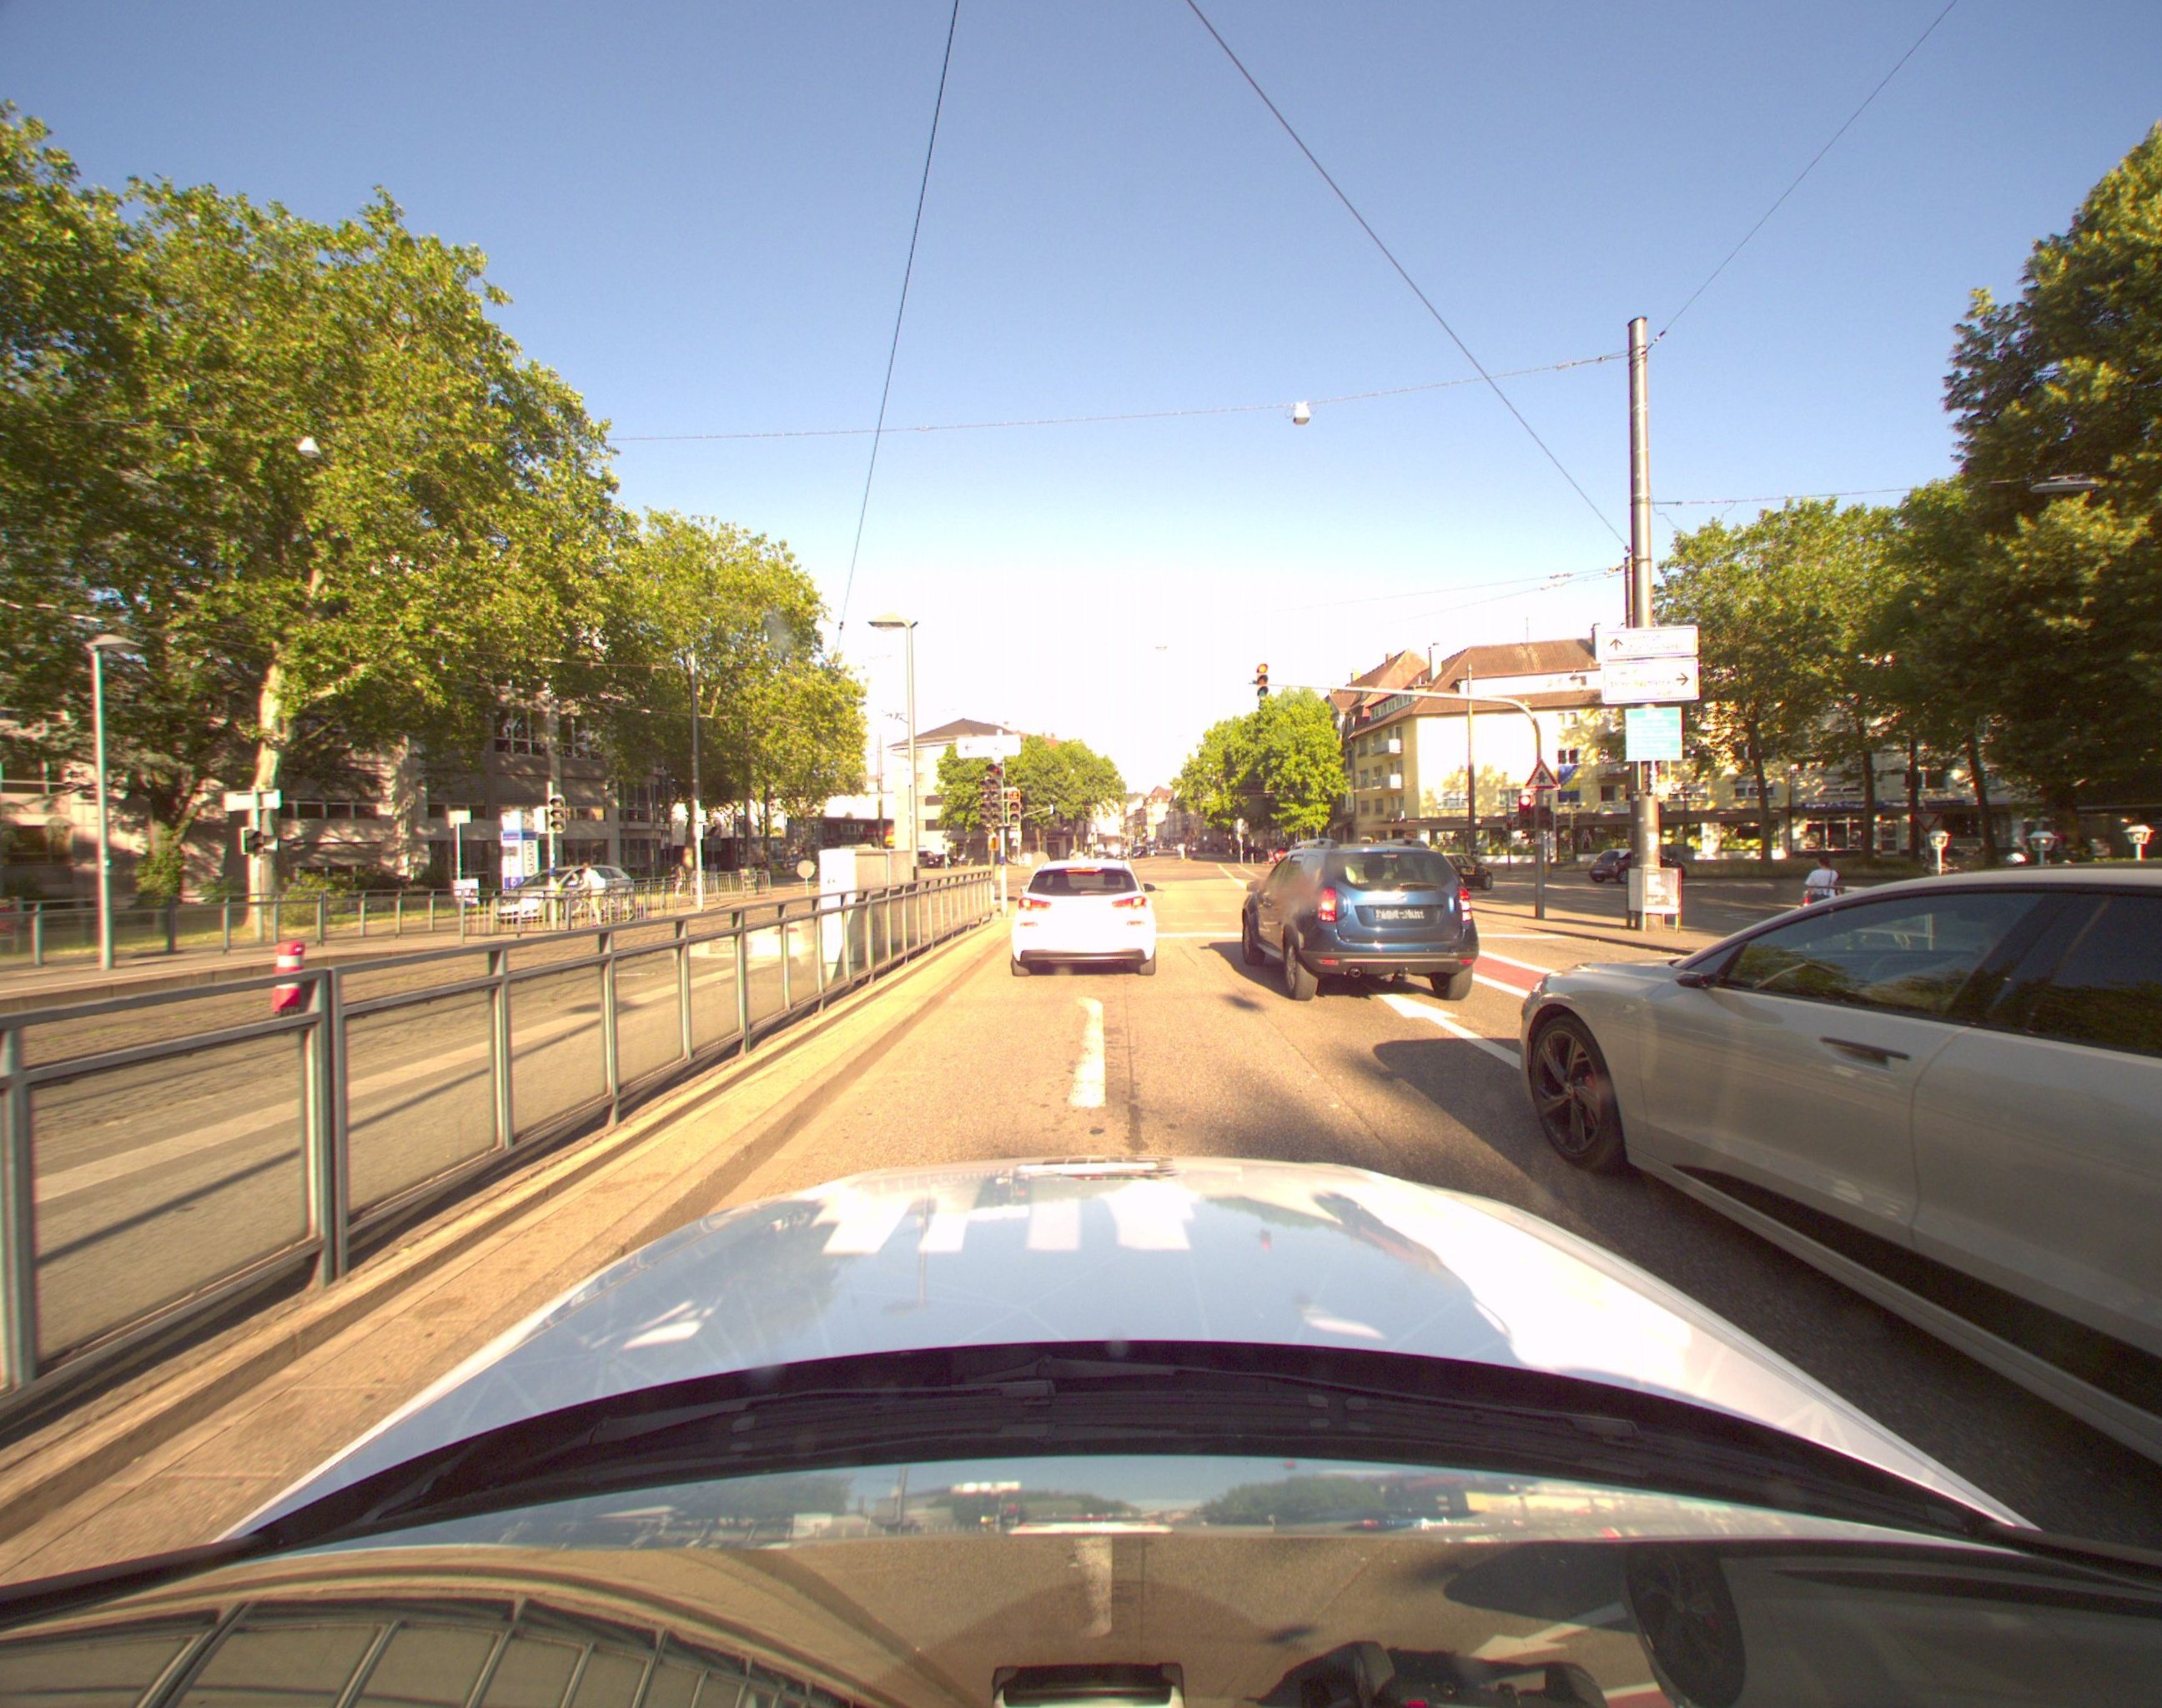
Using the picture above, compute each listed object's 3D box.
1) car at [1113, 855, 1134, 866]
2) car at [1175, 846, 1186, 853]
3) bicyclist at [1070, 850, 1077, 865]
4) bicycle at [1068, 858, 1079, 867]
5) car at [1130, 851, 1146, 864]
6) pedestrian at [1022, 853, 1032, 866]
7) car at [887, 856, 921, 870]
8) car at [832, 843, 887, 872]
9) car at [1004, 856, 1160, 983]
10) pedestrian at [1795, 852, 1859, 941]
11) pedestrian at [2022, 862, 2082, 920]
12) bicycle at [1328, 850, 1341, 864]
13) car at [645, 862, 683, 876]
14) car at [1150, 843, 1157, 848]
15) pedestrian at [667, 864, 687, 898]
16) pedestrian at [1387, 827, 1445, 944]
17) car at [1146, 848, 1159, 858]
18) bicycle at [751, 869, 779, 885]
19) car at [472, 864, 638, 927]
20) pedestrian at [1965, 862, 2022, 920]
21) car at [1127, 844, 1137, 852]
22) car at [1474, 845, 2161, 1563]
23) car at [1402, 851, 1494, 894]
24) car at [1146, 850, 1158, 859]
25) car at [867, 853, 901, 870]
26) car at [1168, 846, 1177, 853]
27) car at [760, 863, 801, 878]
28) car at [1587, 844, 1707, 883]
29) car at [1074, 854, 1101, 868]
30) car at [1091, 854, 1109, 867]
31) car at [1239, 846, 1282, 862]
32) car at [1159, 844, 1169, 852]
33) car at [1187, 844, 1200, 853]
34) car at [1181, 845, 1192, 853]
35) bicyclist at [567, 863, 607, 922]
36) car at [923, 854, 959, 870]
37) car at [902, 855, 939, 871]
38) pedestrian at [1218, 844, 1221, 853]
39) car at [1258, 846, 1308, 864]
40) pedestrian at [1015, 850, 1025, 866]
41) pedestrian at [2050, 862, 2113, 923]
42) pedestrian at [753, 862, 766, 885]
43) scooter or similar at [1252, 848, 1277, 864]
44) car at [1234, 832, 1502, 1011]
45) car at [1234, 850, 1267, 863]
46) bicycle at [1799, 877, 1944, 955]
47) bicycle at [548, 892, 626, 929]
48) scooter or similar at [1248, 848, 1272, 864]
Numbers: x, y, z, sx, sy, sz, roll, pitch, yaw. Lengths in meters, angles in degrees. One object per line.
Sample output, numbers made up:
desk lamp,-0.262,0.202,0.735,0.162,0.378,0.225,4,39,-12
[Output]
car,5.890,0.853,112.205,1.779,1.510,4.020,-2,-1,21
car,20.517,-0.936,168.248,1.787,1.510,4.002,-1,0,2
bicyclist,-0.885,0.388,93.949,0.463,1.745,0.721,-1,0,25
bicycle,-0.873,0.994,93.945,0.463,0.956,1.777,-1,0,25
car,8.426,0.455,119.581,1.782,1.826,4.014,-1,0,12
pedestrian,-6.185,0.586,92.911,0.795,1.484,0.867,-1,0,28
car,-20.126,1.043,92.686,1.779,1.510,4.031,-1,0,21
car,-25.684,0.348,94.733,2.473,3.165,6.573,-1,0,25
car,0.065,0.767,11.503,1.801,1.452,4.001,-1,0,1
pedestrian,13.636,0.756,14.903,0.642,1.563,0.635,1,0,21
pedestrian,23.101,0.866,19.378,0.645,1.338,0.632,1,0,2
bicycle,20.856,0.264,67.009,0.606,1.107,1.803,-1,0,6
car,-48.698,1.726,95.036,3.952,1.510,1.810,-1,0,23
car,21.121,-2.407,237.850,1.787,1.510,4.002,-1,0,2
pedestrian,-18.710,1.238,37.690,0.533,1.552,0.677,-1,0,1
pedestrian,5.553,0.508,13.516,0.654,1.871,0.678,-1,0,1
car,11.808,-0.135,134.124,1.788,1.510,4.001,-1,0,1
bicycle,-22.998,1.683,59.246,1.786,1.107,0.501,-1,0,4
car,-15.660,1.164,24.547,1.804,1.692,4.173,0,0,10
pedestrian,21.801,0.872,19.464,0.645,1.338,0.632,1,0,2
car,9.870,-1.072,157.110,1.788,1.510,4.001,-1,0,1
car,3.218,0.718,2.390,1.922,1.472,4.857,-1,0,2
car,13.821,0.651,30.579,4.068,1.438,1.784,-1,1,-44
car,12.451,0.143,142.107,1.788,1.510,4.001,-1,0,1
car,-22.589,0.849,93.653,1.779,1.955,4.021,-1,0,21
car,21.118,-1.024,187.486,1.787,1.522,4.002,-1,0,2
car,-32.391,1.815,87.845,3.952,1.510,1.810,-1,0,23
car,23.971,0.383,34.570,3.979,1.510,1.798,-1,1,-4
car,0.818,0.841,98.277,1.707,1.510,3.899,-2,-1,27
car,2.431,0.825,104.231,1.784,1.510,4.010,-2,-1,9
car,18.368,0.010,83.529,3.979,1.510,1.797,-1,0,-4
car,21.687,-1.586,212.515,2.318,2.013,4.978,-1,0,2
car,21.444,-1.060,155.525,2.097,1.776,4.343,-1,0,2
car,20.977,-0.922,162.070,1.787,1.510,4.002,-1,0,2
bicyclist,-12.299,0.949,20.284,0.806,1.414,0.522,-1,0,-32
car,-15.424,0.882,89.837,1.904,1.649,4.203,-1,0,22
car,-17.844,0.946,90.608,1.777,1.649,4.035,-1,0,31
pedestrian,24.988,-1.015,146.882,0.643,1.651,0.652,0,-1,12
car,18.125,0.048,73.112,3.983,1.510,1.796,-1,0,-7
pedestrian,-6.810,0.455,91.366,0.828,1.771,0.787,-1,0,27
pedestrian,22.687,0.856,18.473,0.645,1.338,0.632,1,0,2
pedestrian,-23.187,1.412,58.773,0.645,1.661,0.651,-1,0,4
scooter or similar,15.245,0.187,67.724,1.926,1.280,0.557,-1,0,43
car,3.038,0.622,9.572,1.793,1.638,4.046,-1,0,1
car,20.321,0.328,97.700,4.021,1.510,1.779,-1,0,-40
bicycle,11.924,0.896,12.367,0.496,1.075,1.801,0,-1,2
bicycle,-12.291,1.395,20.282,1.622,0.816,0.522,-1,0,-33
scooter or similar,14.762,0.182,67.187,1.926,1.280,0.557,-1,0,43
